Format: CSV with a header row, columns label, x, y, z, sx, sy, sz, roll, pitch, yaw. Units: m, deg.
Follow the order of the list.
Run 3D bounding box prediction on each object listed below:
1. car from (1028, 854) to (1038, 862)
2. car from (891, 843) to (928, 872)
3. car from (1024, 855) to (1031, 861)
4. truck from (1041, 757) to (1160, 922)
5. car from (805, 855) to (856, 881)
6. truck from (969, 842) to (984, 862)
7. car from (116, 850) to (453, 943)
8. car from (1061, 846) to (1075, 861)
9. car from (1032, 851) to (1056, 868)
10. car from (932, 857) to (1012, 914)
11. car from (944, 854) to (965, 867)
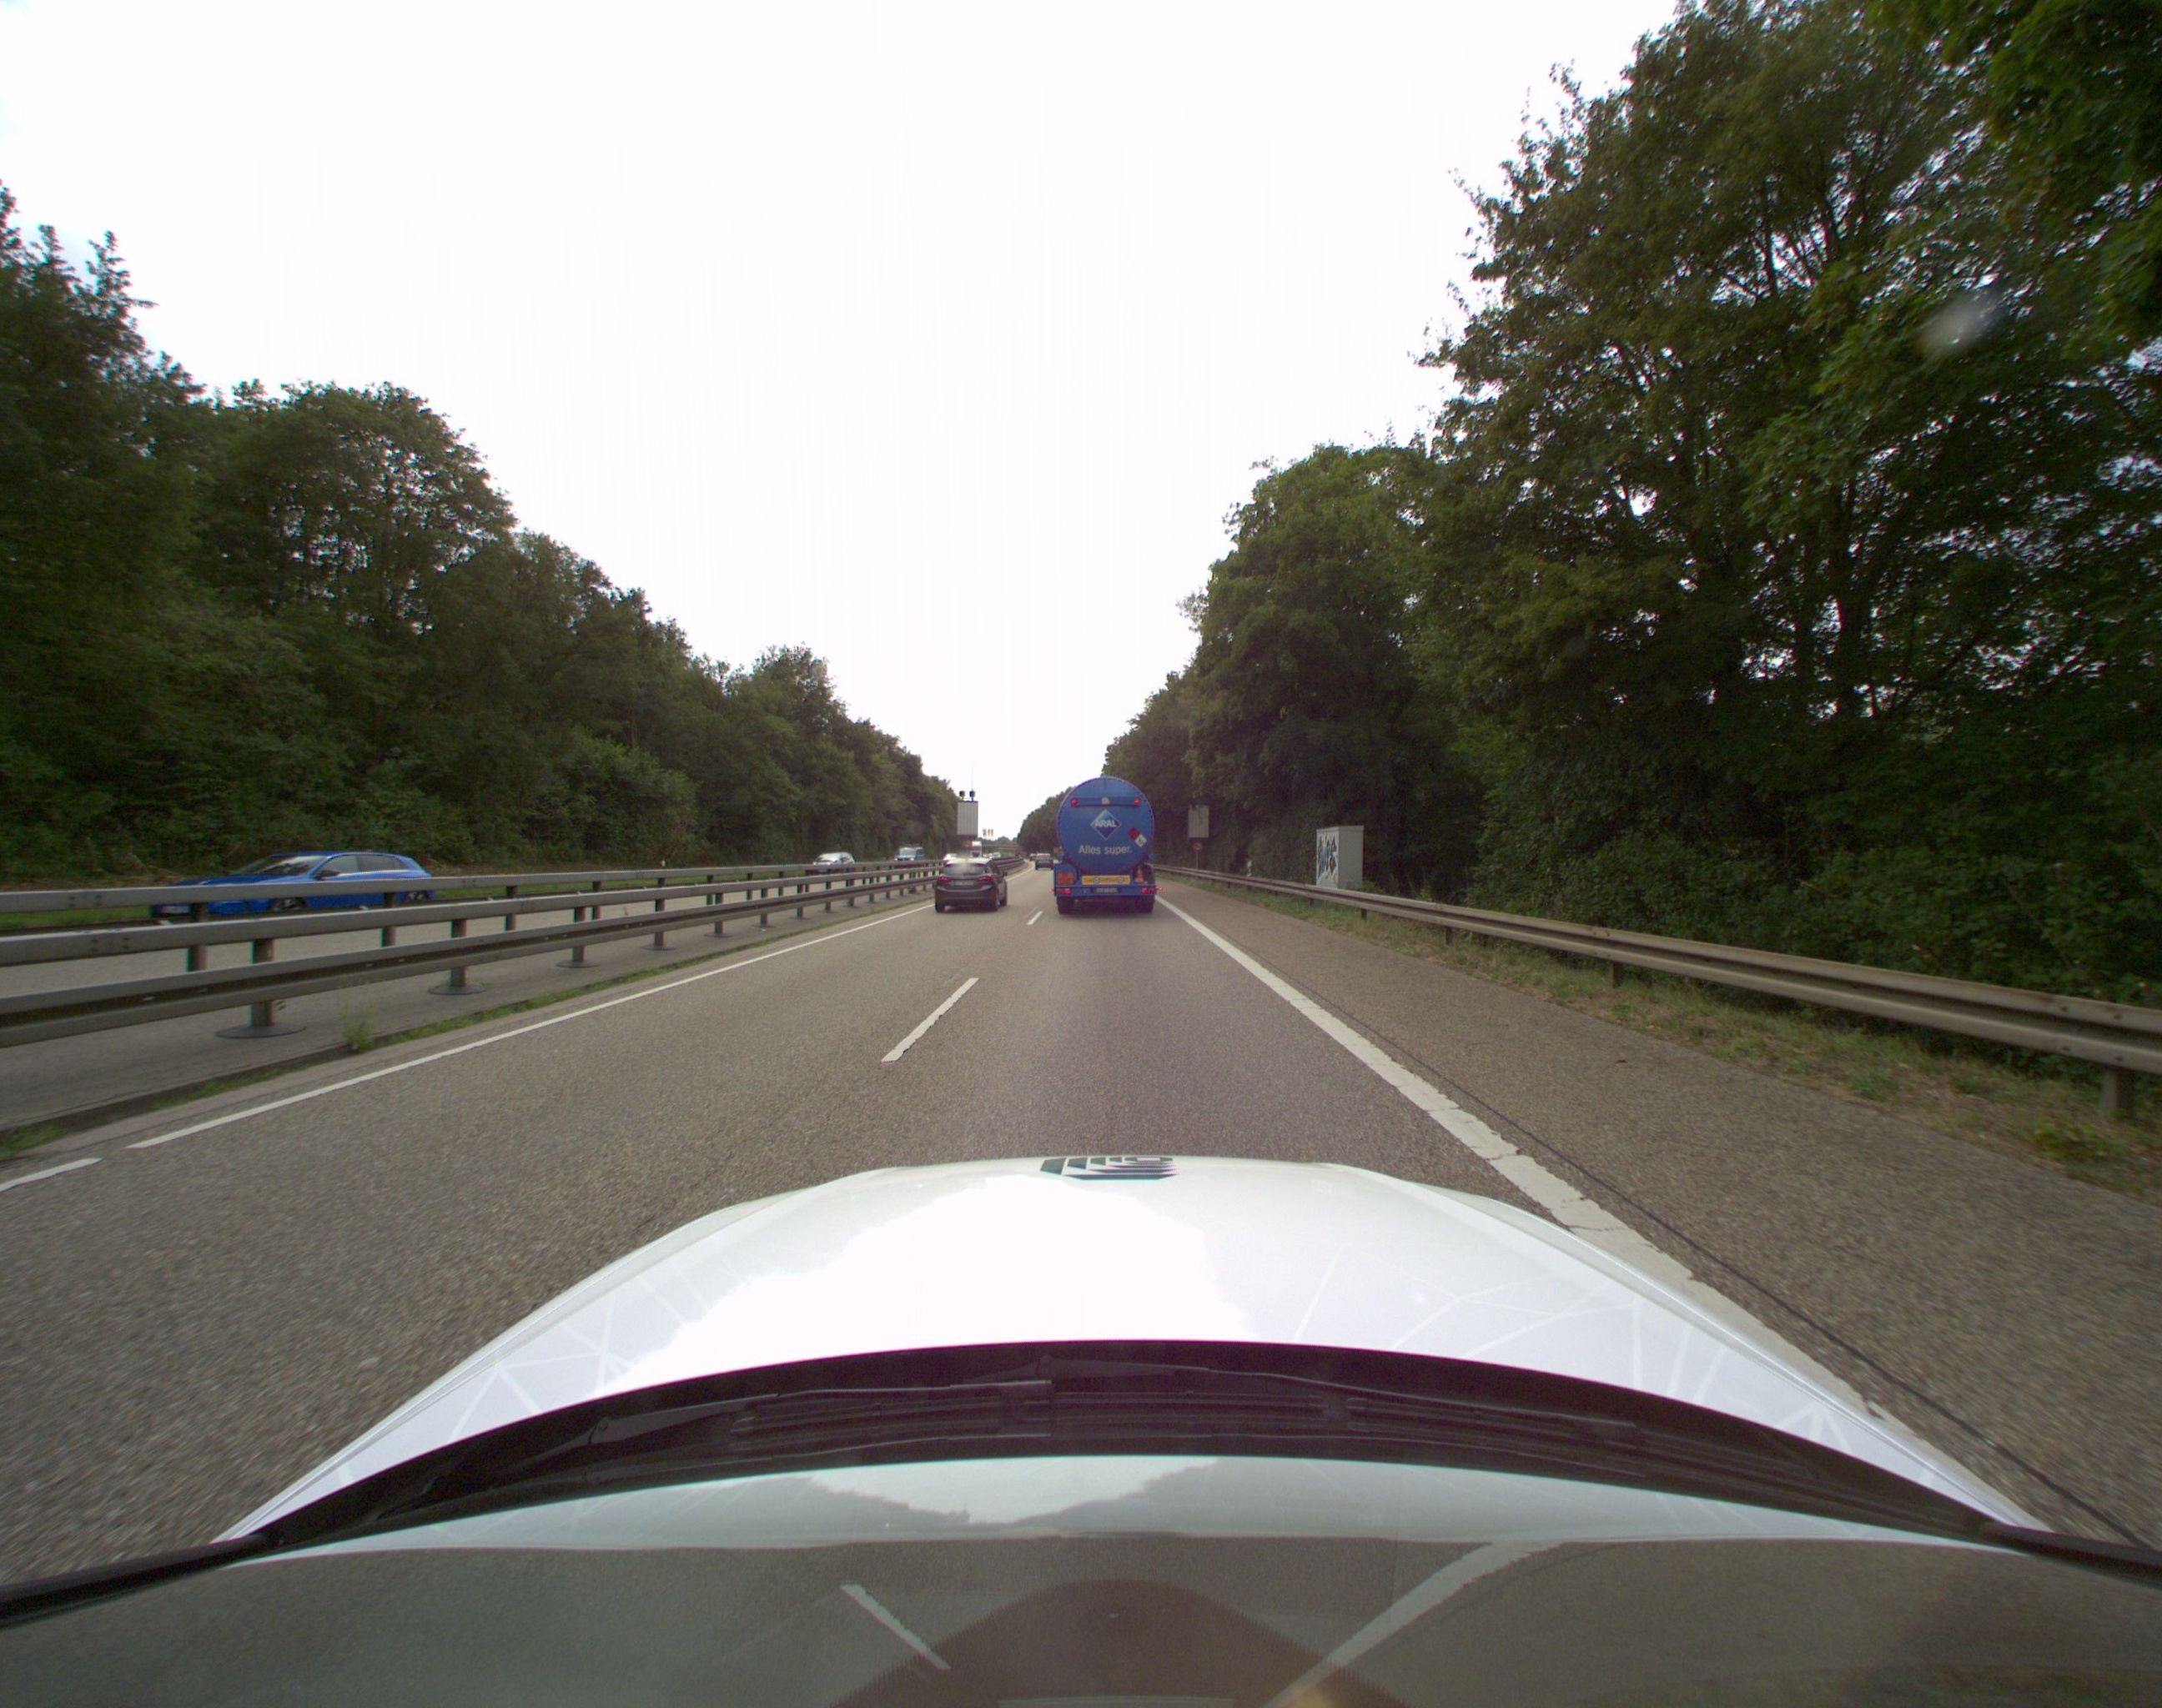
label,x,y,z,sx,sy,sz,roll,pitch,yaw
car,-10.032,0.780,170.636,1.951,1.567,3.995,-1,0,-3
car,-14.688,0.322,70.075,1.929,2.321,5.305,-1,0,1
car,-14.835,1.191,226.545,1.990,1.552,3.994,-1,0,-4
truck,0.513,-0.354,23.124,2.746,3.846,7.688,-1,0,0
car,-14.892,0.797,48.649,1.688,1.466,4.090,-1,0,1
truck,-22.679,-0.422,176.440,2.686,4.063,5.316,-1,0,-3
car,-14.943,0.719,15.753,1.986,1.509,4.506,-1,0,1
car,-2.039,-0.032,125.497,1.987,2.244,4.000,-1,0,0
car,-3.664,0.513,80.960,1.818,1.609,4.172,-1,0,4
car,-3.068,0.853,23.800,1.821,1.458,4.636,-1,0,-2
car,-15.934,0.826,102.847,1.988,1.481,4.129,-1,0,-1
